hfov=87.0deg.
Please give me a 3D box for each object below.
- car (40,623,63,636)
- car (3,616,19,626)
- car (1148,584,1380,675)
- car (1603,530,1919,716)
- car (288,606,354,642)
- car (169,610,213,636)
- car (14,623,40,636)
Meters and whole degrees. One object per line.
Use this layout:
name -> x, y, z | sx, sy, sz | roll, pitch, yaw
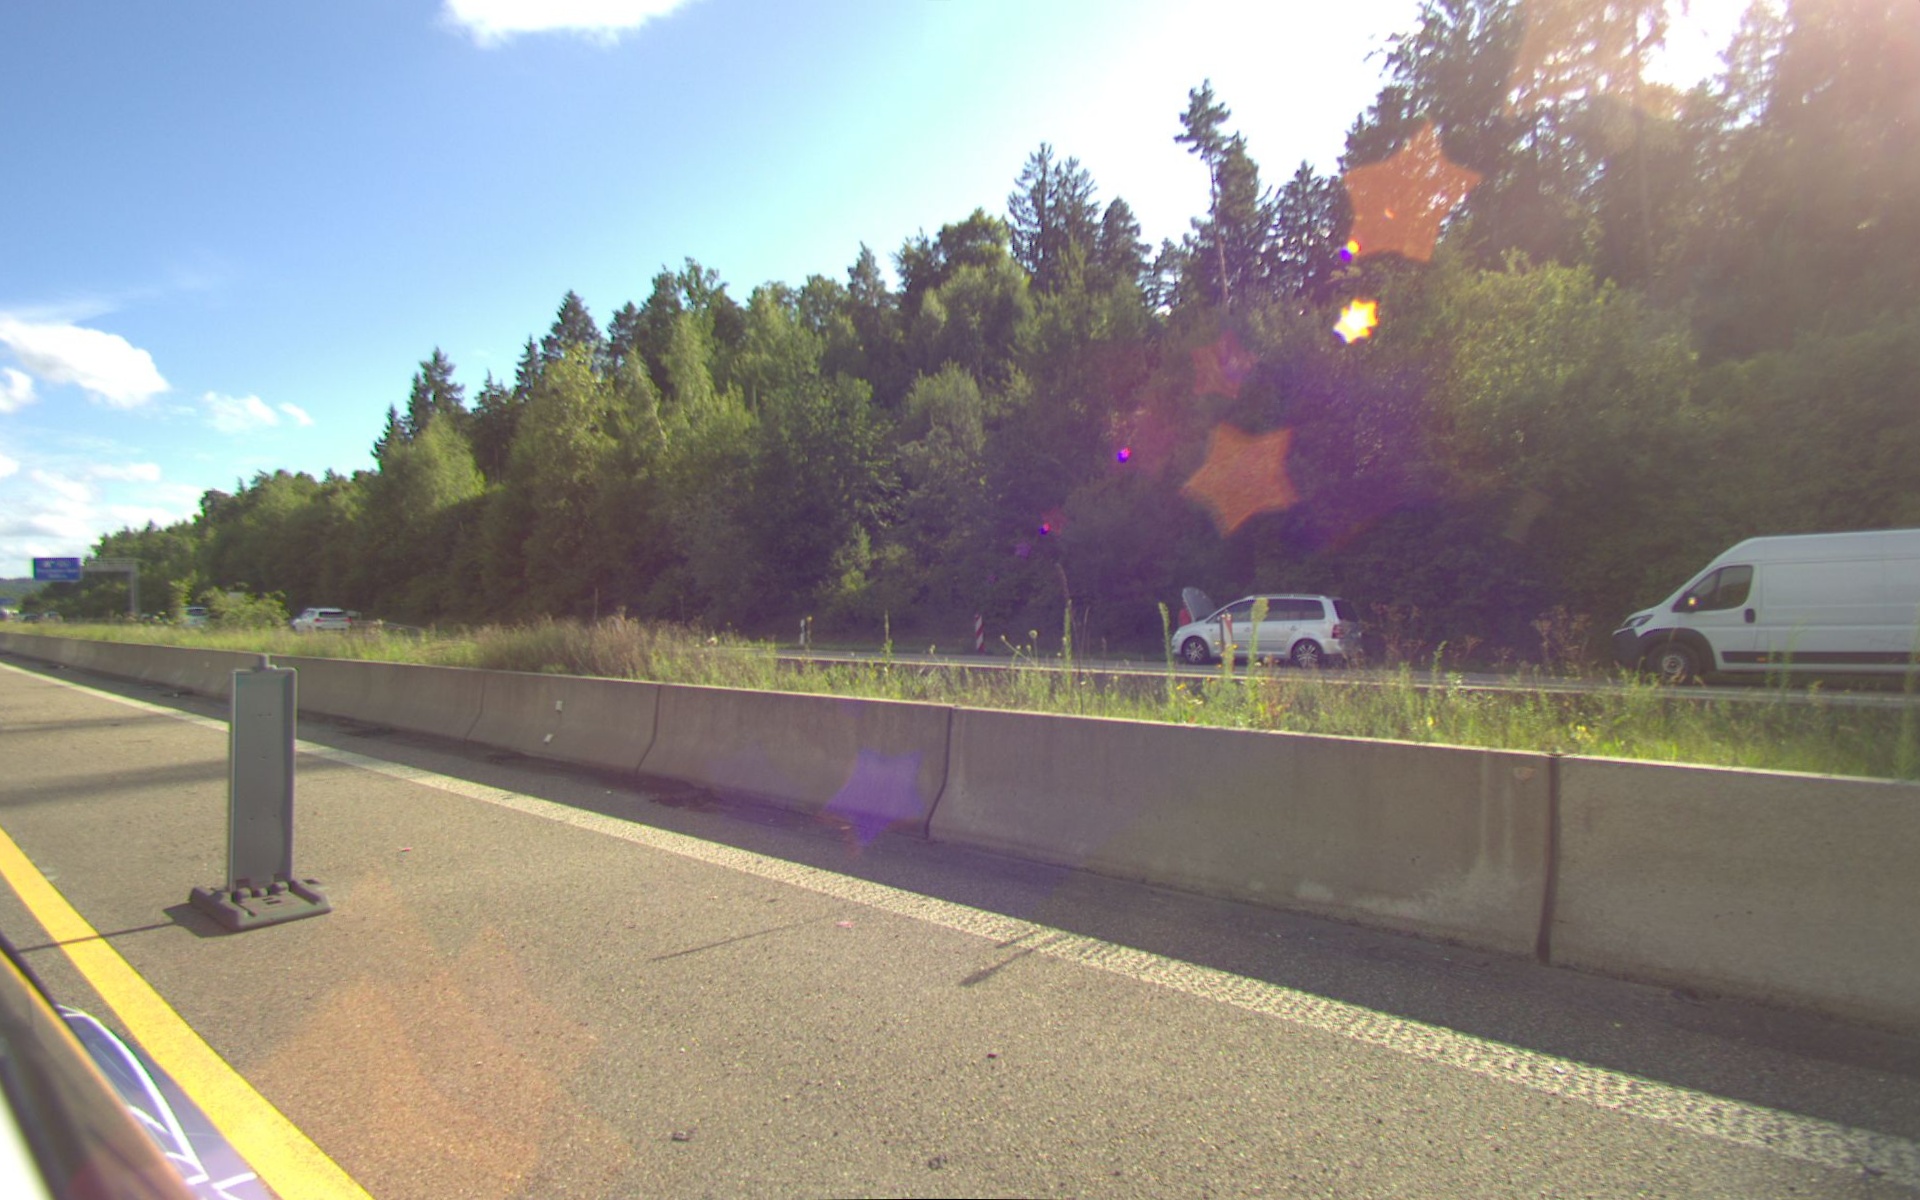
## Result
car -> -125.688, 4.038, 139.990 | 4.615, 1.701, 1.759 | -1, 0, 41
car -> -178.311, 3.971, 190.194 | 4.615, 1.917, 1.759 | -1, 0, 41
car -> 6.838, 0.616, 23.118 | 4.759, 1.867, 1.841 | -1, 0, 41
car -> 14.131, 0.332, 15.945 | 6.519, 2.705, 2.007 | -1, 0, 41
car -> -33.619, 1.224, 53.195 | 4.363, 1.799, 1.759 | -1, 0, 41
car -> -56.292, 1.668, 74.047 | 4.363, 1.799, 1.759 | -1, 0, 41
car -> -108.326, 3.409, 117.510 | 4.103, 1.467, 1.759 | -1, 0, 41
